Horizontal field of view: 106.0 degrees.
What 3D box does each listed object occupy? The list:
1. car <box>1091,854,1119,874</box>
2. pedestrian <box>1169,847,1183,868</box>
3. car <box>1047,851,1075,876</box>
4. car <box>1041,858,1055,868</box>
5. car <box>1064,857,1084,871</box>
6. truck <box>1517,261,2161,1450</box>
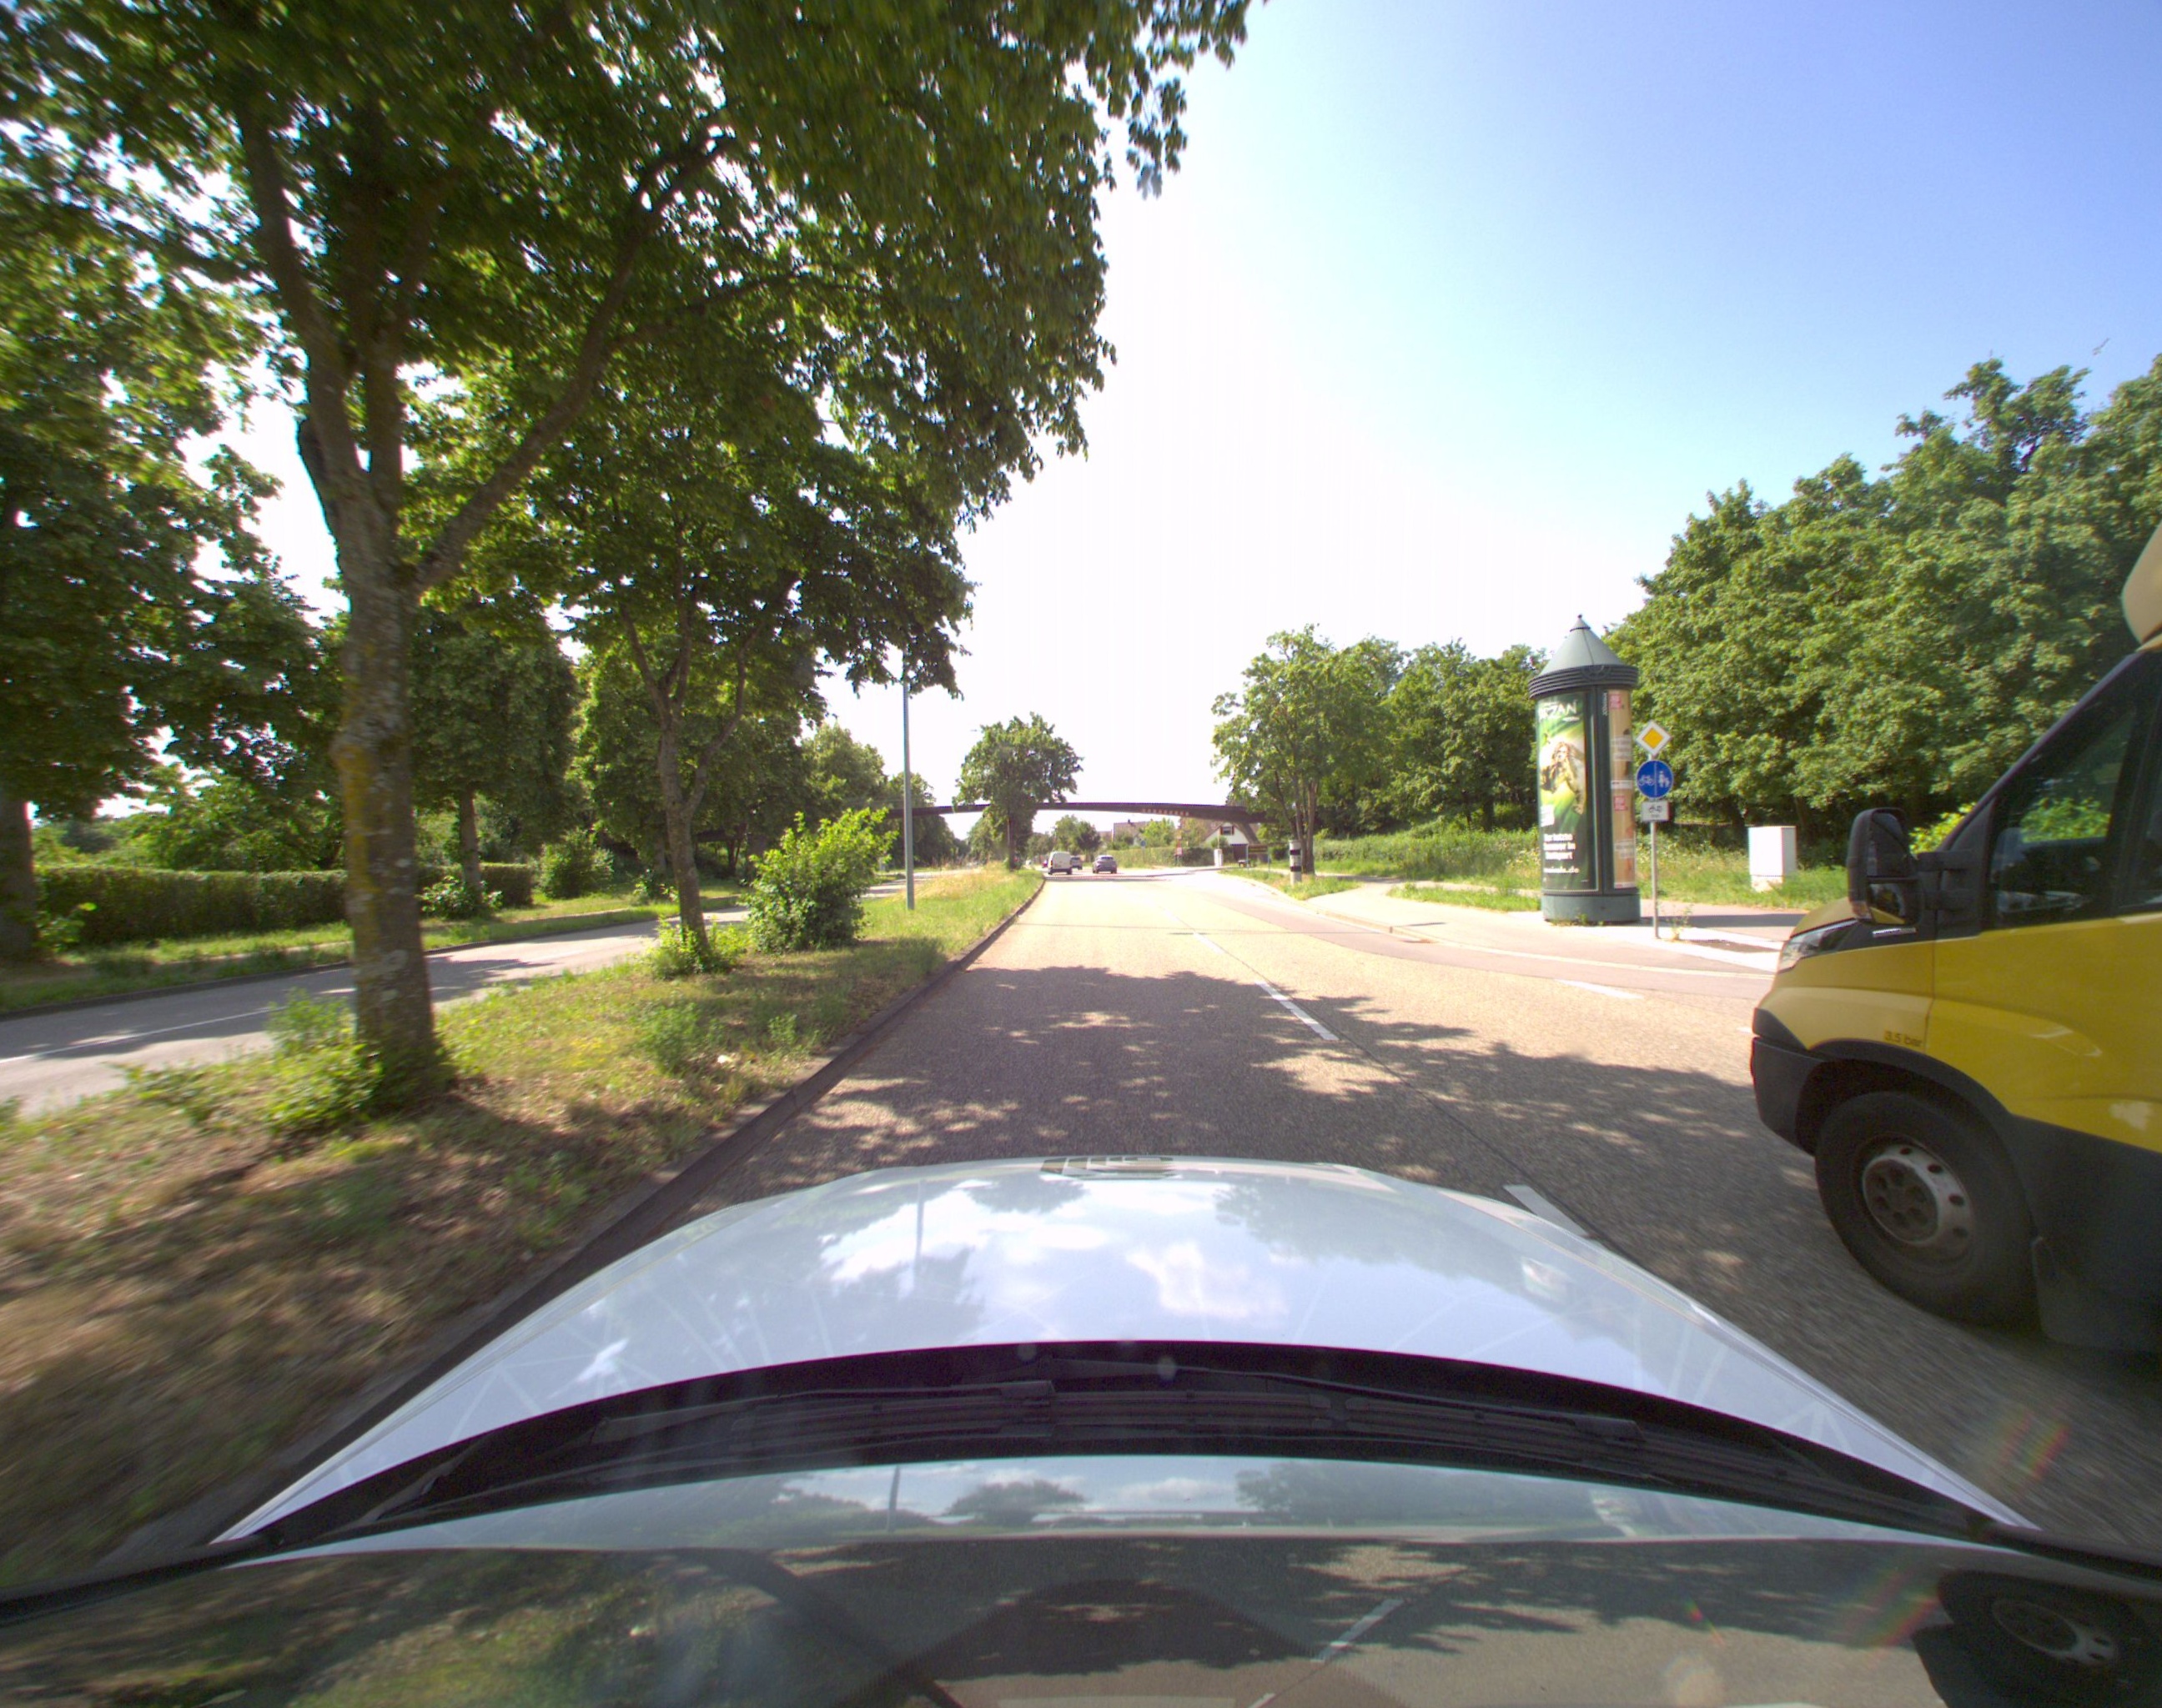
[{"bbox_3d":[2.000,0.865,68.176,1.872,1.589,4.177,-2,-1,-5],"label":"car"},{"bbox_3d":[8.406,0.321,72.179,0.953,1.824,1.086,-3,-3,-5],"label":"pedestrian"},{"bbox_3d":[-1.649,0.793,66.010,2.062,1.912,4.639,-2,0,-4],"label":"car"},{"bbox_3d":[-5.517,1.503,135.801,1.879,1.587,3.990,-1,0,-7],"label":"car"},{"bbox_3d":[-0.879,1.235,98.571,1.873,1.652,3.990,-2,-1,-7],"label":"car"},{"bbox_3d":[3.720,0.004,0.989,2.256,2.880,8.030,0,0,1],"label":"truck"}]
